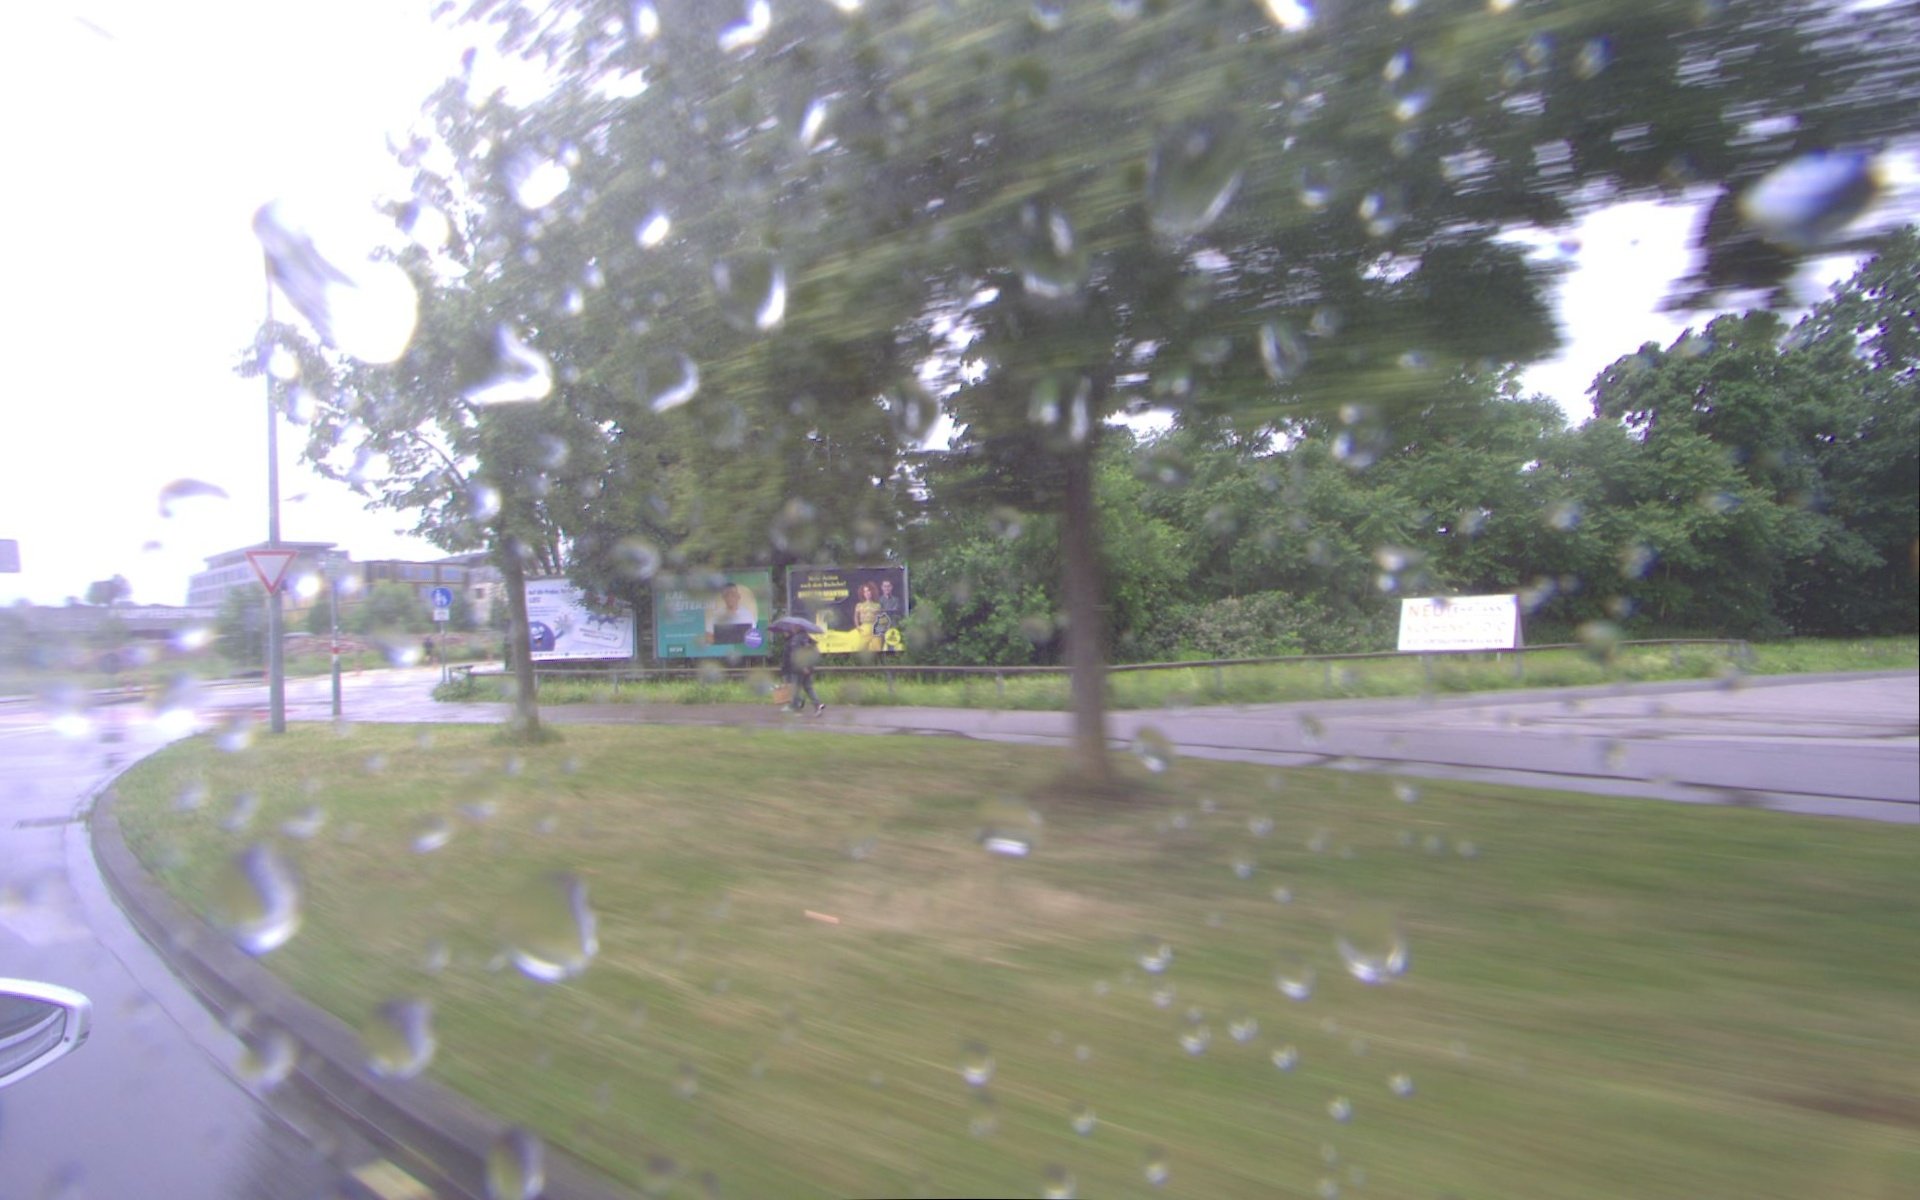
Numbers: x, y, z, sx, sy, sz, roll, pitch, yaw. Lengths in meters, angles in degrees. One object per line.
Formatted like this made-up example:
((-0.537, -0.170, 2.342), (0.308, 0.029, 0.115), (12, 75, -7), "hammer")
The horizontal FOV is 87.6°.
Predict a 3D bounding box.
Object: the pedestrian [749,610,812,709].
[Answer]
((-3.397, 1.131, 18.909), (0.912, 1.806, 0.803), (1, -4, -34), "pedestrian")

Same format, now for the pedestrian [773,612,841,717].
((-2.726, 1.148, 17.806), (0.912, 1.806, 0.803), (1, -4, -34), "pedestrian")

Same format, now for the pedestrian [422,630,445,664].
((-32.647, 2.915, 62.083), (0.832, 2.038, 1.133), (-2, -3, 1), "pedestrian")
